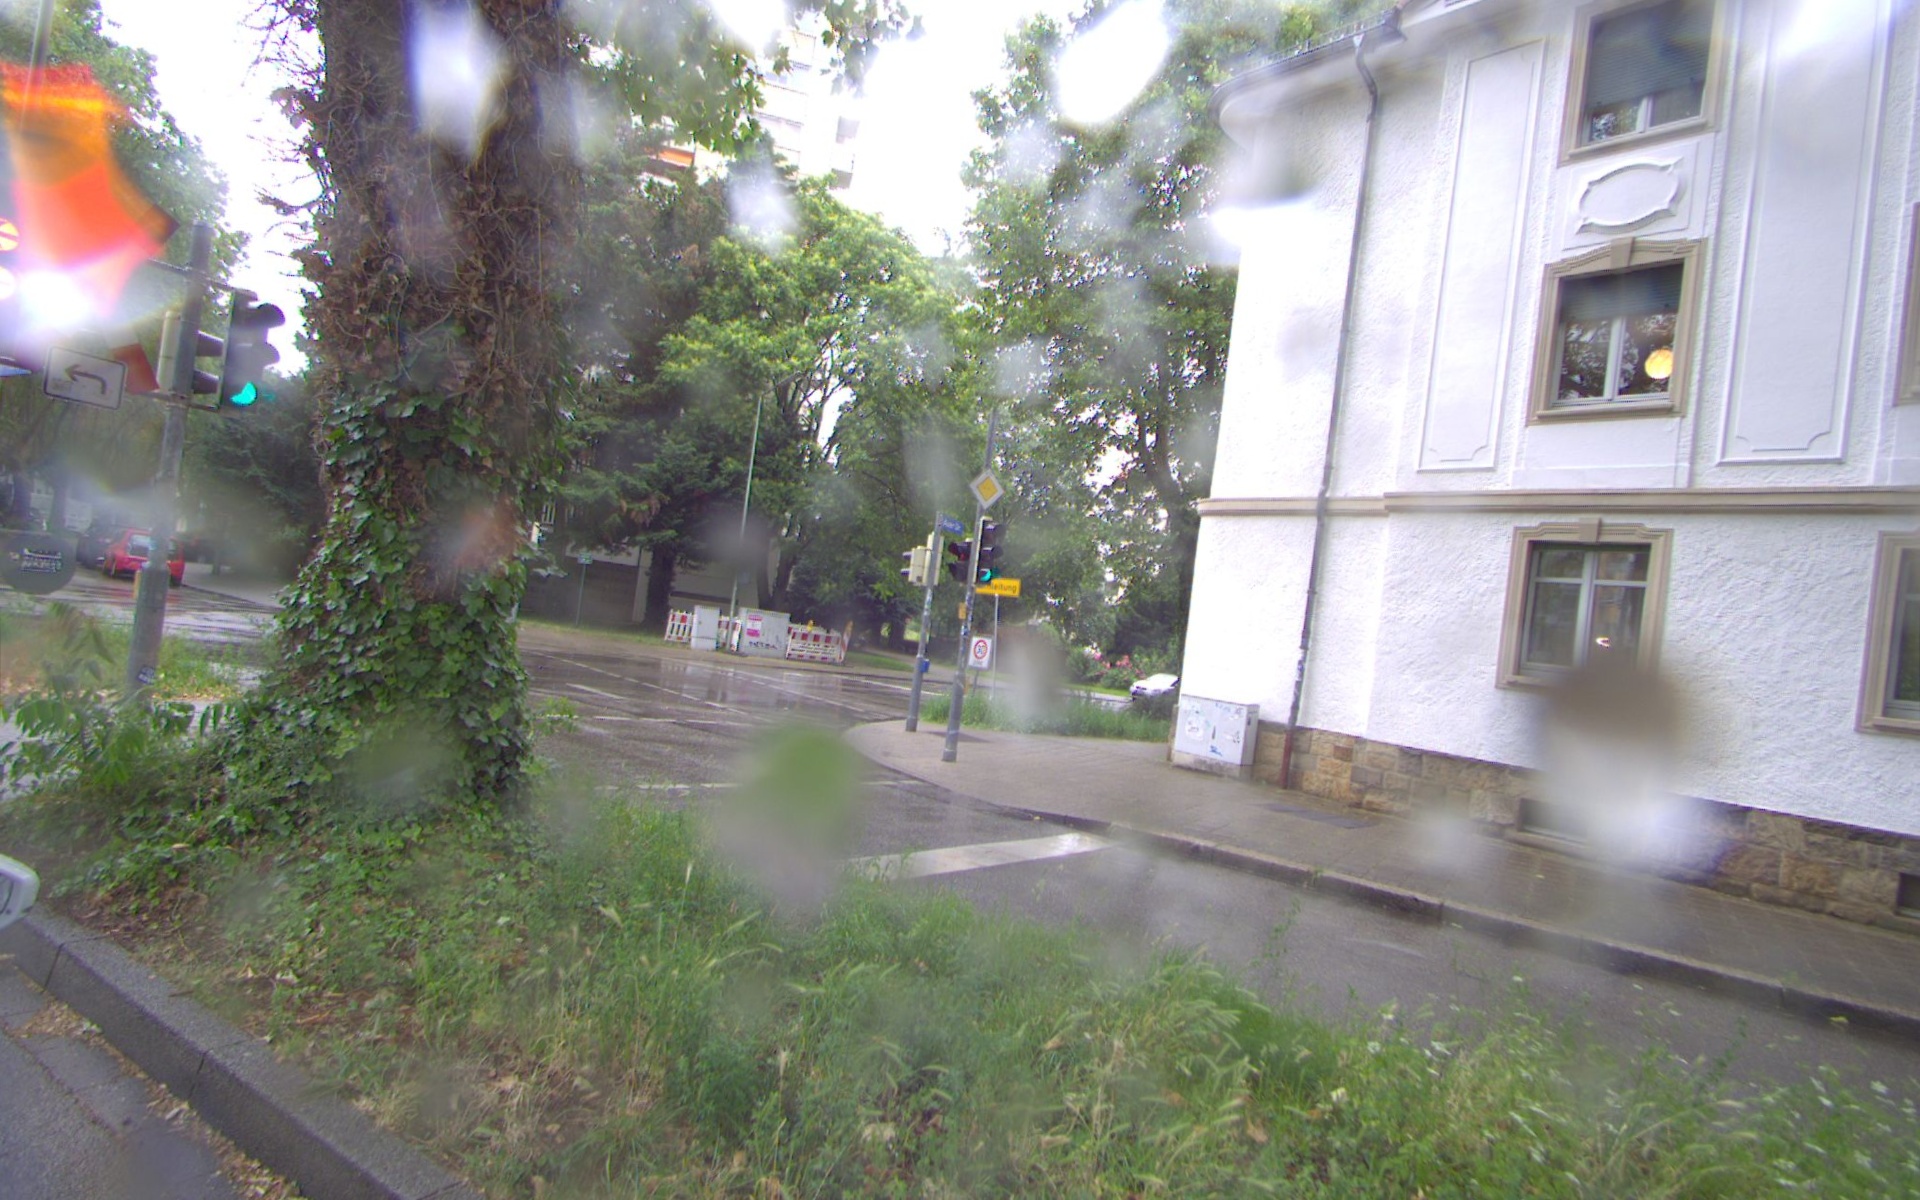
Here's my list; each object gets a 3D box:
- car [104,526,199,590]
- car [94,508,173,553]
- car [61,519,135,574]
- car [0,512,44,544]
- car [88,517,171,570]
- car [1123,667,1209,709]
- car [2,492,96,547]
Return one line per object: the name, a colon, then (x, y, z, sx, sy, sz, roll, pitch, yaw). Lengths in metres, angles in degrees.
car: (-24.831, -1.304, 30.846, 1.788, 1.515, 3.950, 10, -2, -44)
car: (-69.645, -5.830, 84.821, 4.683, 2.982, 2.001, 7, -1, 1)
car: (-32.983, -2.072, 38.458, 1.779, 1.747, 3.951, 9, -2, -44)
car: (-56.203, -4.369, 58.635, 1.974, 1.565, 3.980, 6, -3, 44)
car: (-28.098, -1.932, 34.004, 1.780, 1.363, 3.879, 10, -2, -44)
car: (9.412, 4.009, 45.806, 1.829, 1.473, 3.979, 6, -3, 45)
car: (-61.108, -5.382, 67.539, 4.680, 2.982, 2.043, 7, -1, 12)
